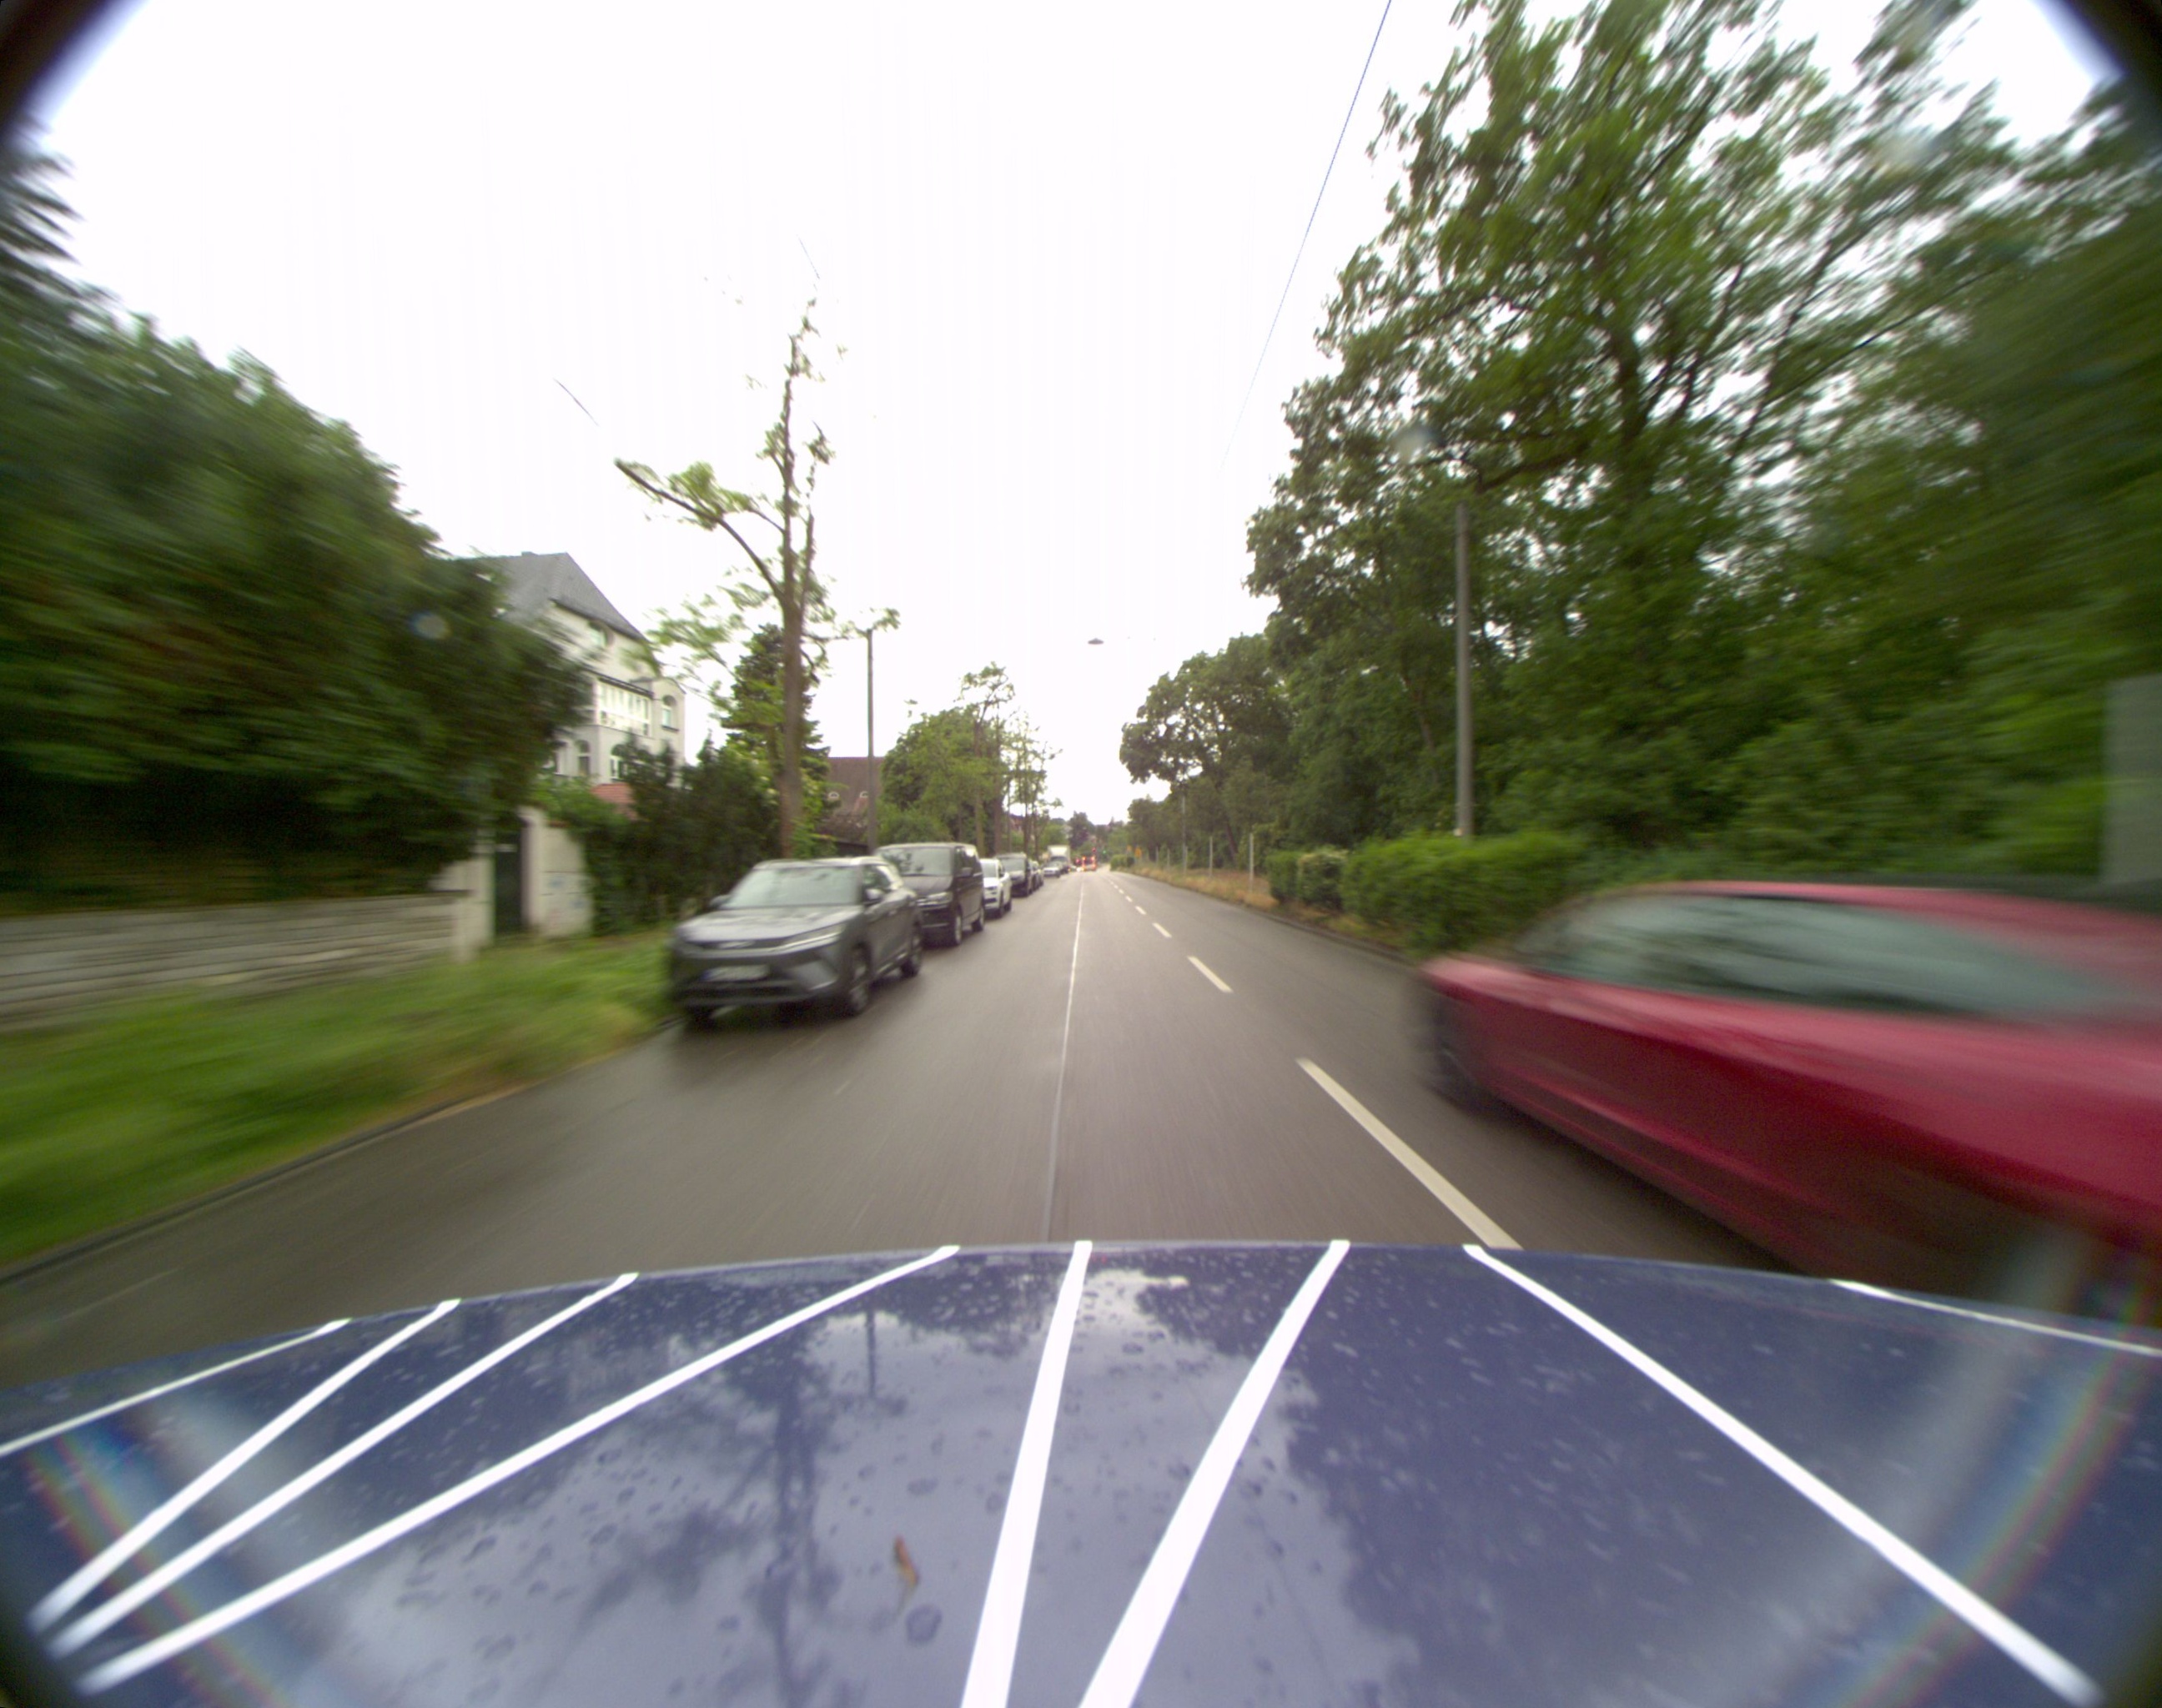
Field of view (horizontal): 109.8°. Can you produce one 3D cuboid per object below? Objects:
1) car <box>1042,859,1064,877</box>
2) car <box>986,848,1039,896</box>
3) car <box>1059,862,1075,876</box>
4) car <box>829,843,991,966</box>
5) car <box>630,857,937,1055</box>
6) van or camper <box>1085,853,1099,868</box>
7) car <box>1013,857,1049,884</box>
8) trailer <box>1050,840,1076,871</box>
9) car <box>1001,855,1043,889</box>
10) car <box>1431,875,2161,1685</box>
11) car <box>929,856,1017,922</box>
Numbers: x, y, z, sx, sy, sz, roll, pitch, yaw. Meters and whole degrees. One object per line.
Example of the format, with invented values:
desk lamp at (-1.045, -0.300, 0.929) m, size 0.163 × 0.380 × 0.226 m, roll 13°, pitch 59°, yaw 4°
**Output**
car at (-2.362, 1.182, 65.072) m, size 1.786 × 1.387 × 4.000 m, roll -2°, pitch -1°, yaw -1°
car at (-2.835, 0.748, 32.147) m, size 1.734 × 1.836 × 4.230 m, roll -2°, pitch 0°, yaw 1°
car at (-1.512, 1.579, 82.725) m, size 1.645 × 1.455 × 4.000 m, roll -2°, pitch -1°, yaw 0°
car at (-3.170, 0.875, 15.263) m, size 1.998 × 2.001 × 4.888 m, roll -2°, pitch 0°, yaw 1°
car at (-3.075, 0.935, 8.959) m, size 1.778 × 1.712 × 4.327 m, roll -2°, pitch -1°, yaw 1°
van or camper at (2.462, 1.454, 168.703) m, size 2.862 × 3.159 × 6.852 m, roll -2°, pitch 0°, yaw 3°
car at (-2.815, 0.926, 43.838) m, size 1.742 × 1.456 × 3.725 m, roll -2°, pitch -1°, yaw 1°
trailer at (-2.136, 0.188, 92.763) m, size 2.741 × 3.487 × 8.248 m, roll -2°, pitch 0°, yaw 0°
car at (-2.881, 0.888, 38.079) m, size 1.683 × 1.546 × 4.076 m, roll -2°, pitch -1°, yaw 1°
car at (3.047, 0.872, 2.578) m, size 1.865 × 1.471 × 4.156 m, roll 0°, pitch 0°, yaw 1°
car at (-2.953, 0.920, 21.659) m, size 1.809 × 1.603 × 4.286 m, roll -2°, pitch -1°, yaw 0°
